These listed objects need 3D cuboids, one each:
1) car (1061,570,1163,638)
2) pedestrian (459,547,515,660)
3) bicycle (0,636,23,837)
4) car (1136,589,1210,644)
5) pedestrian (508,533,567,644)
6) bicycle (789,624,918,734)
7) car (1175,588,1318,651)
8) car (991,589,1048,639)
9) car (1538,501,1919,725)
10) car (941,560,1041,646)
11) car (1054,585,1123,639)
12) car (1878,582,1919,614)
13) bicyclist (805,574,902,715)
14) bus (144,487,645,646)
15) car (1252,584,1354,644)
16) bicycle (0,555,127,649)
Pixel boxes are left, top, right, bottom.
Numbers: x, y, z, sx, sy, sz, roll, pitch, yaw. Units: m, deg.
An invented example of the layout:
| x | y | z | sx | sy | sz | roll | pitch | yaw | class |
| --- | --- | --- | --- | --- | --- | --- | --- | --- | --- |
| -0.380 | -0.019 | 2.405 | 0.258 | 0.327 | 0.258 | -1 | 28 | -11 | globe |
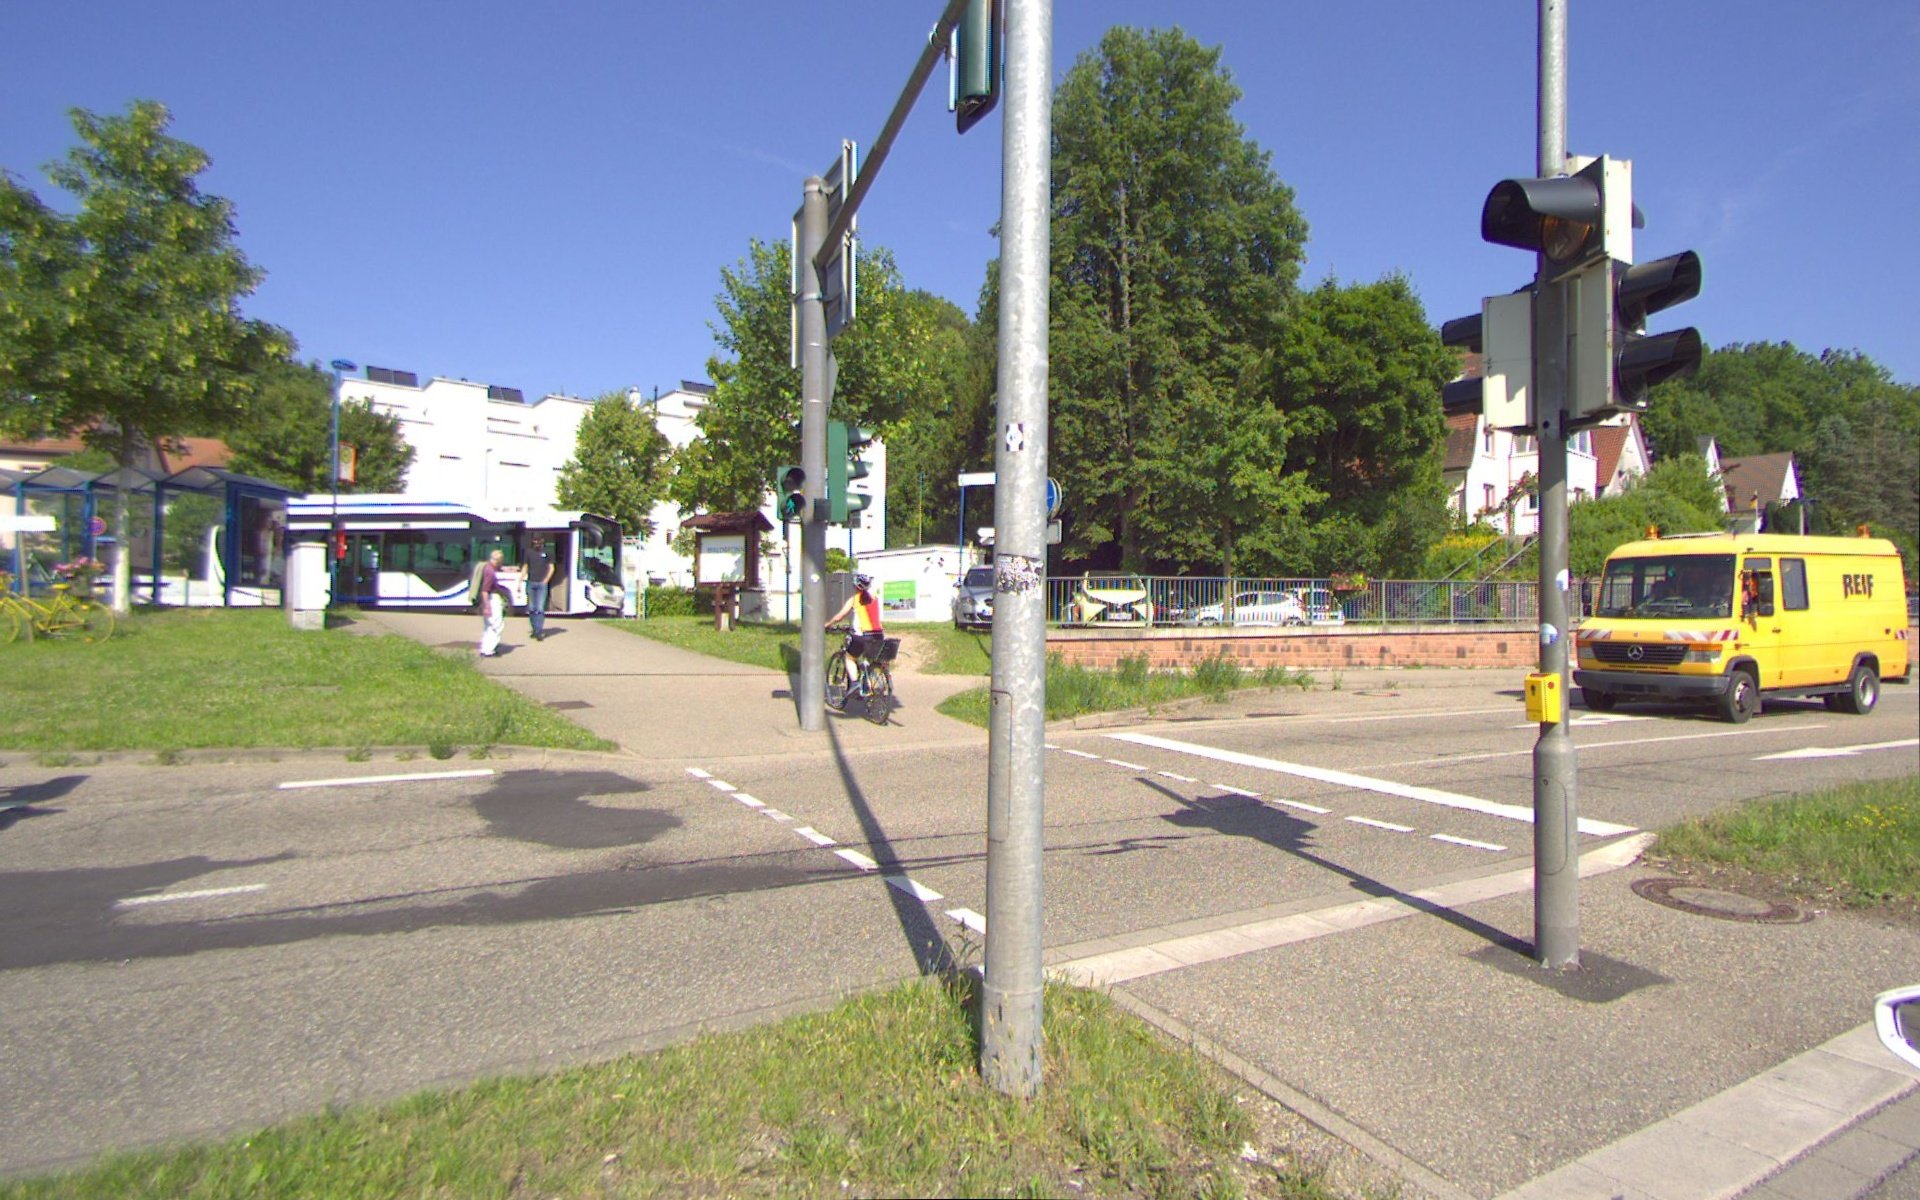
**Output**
| x | y | z | sx | sy | sz | roll | pitch | yaw | class |
| --- | --- | --- | --- | --- | --- | --- | --- | --- | --- |
| 3.381 | 0.038 | 23.057 | 1.876 | 1.400 | 4.000 | 1 | 2 | 3 | car |
| -7.348 | 0.037 | 15.592 | 0.732 | 1.700 | 0.707 | 0 | 2 | -30 | pedestrian |
| -6.653 | 0.800 | 5.790 | 1.959 | 1.178 | 0.735 | 1 | 2 | 8 | bicycle |
| 7.265 | 0.515 | 34.668 | 1.960 | 1.694 | 4.001 | 1 | 2 | 4 | car |
| -7.569 | -0.215 | 17.989 | 0.847 | 1.934 | 0.735 | 1 | 3 | -31 | pedestrian |
| -1.331 | 0.904 | 12.156 | 0.727 | 1.079 | 1.954 | 0 | 3 | -33 | bicycle |
| 8.823 | 0.589 | 31.207 | 3.920 | 1.813 | 1.922 | 1 | 0 | 3 | car |
| 2.045 | 0.430 | 35.269 | 1.876 | 1.581 | 4.000 | 1 | 2 | 2 | car |
| 12.559 | 0.226 | 16.245 | 6.383 | 3.051 | 2.458 | 1 | 1 | -27 | car |
| 0.736 | -0.005 | 22.970 | 2.016 | 1.719 | 4.415 | 2 | 2 | 2 | car |
| 4.452 | 0.365 | 35.326 | 1.876 | 1.724 | 3.999 | 0 | 2 | 0 | car |
| 52.049 | -0.099 | 55.231 | 3.969 | 1.651 | 1.878 | 1 | 0 | -41 | car |
| -1.301 | 0.501 | 12.172 | 0.799 | 1.586 | 0.948 | -1 | 4 | -34 | bicyclist |
| -14.566 | -0.914 | 26.231 | 11.970 | 3.764 | 2.871 | 1 | 2 | 7 | bus |
| 11.866 | 0.436 | 35.043 | 1.877 | 1.901 | 3.996 | 1 | 2 | -5 | car |
| -13.029 | 0.012 | 14.216 | 1.732 | 1.273 | 0.616 | -2 | 5 | -25 | bicycle |
